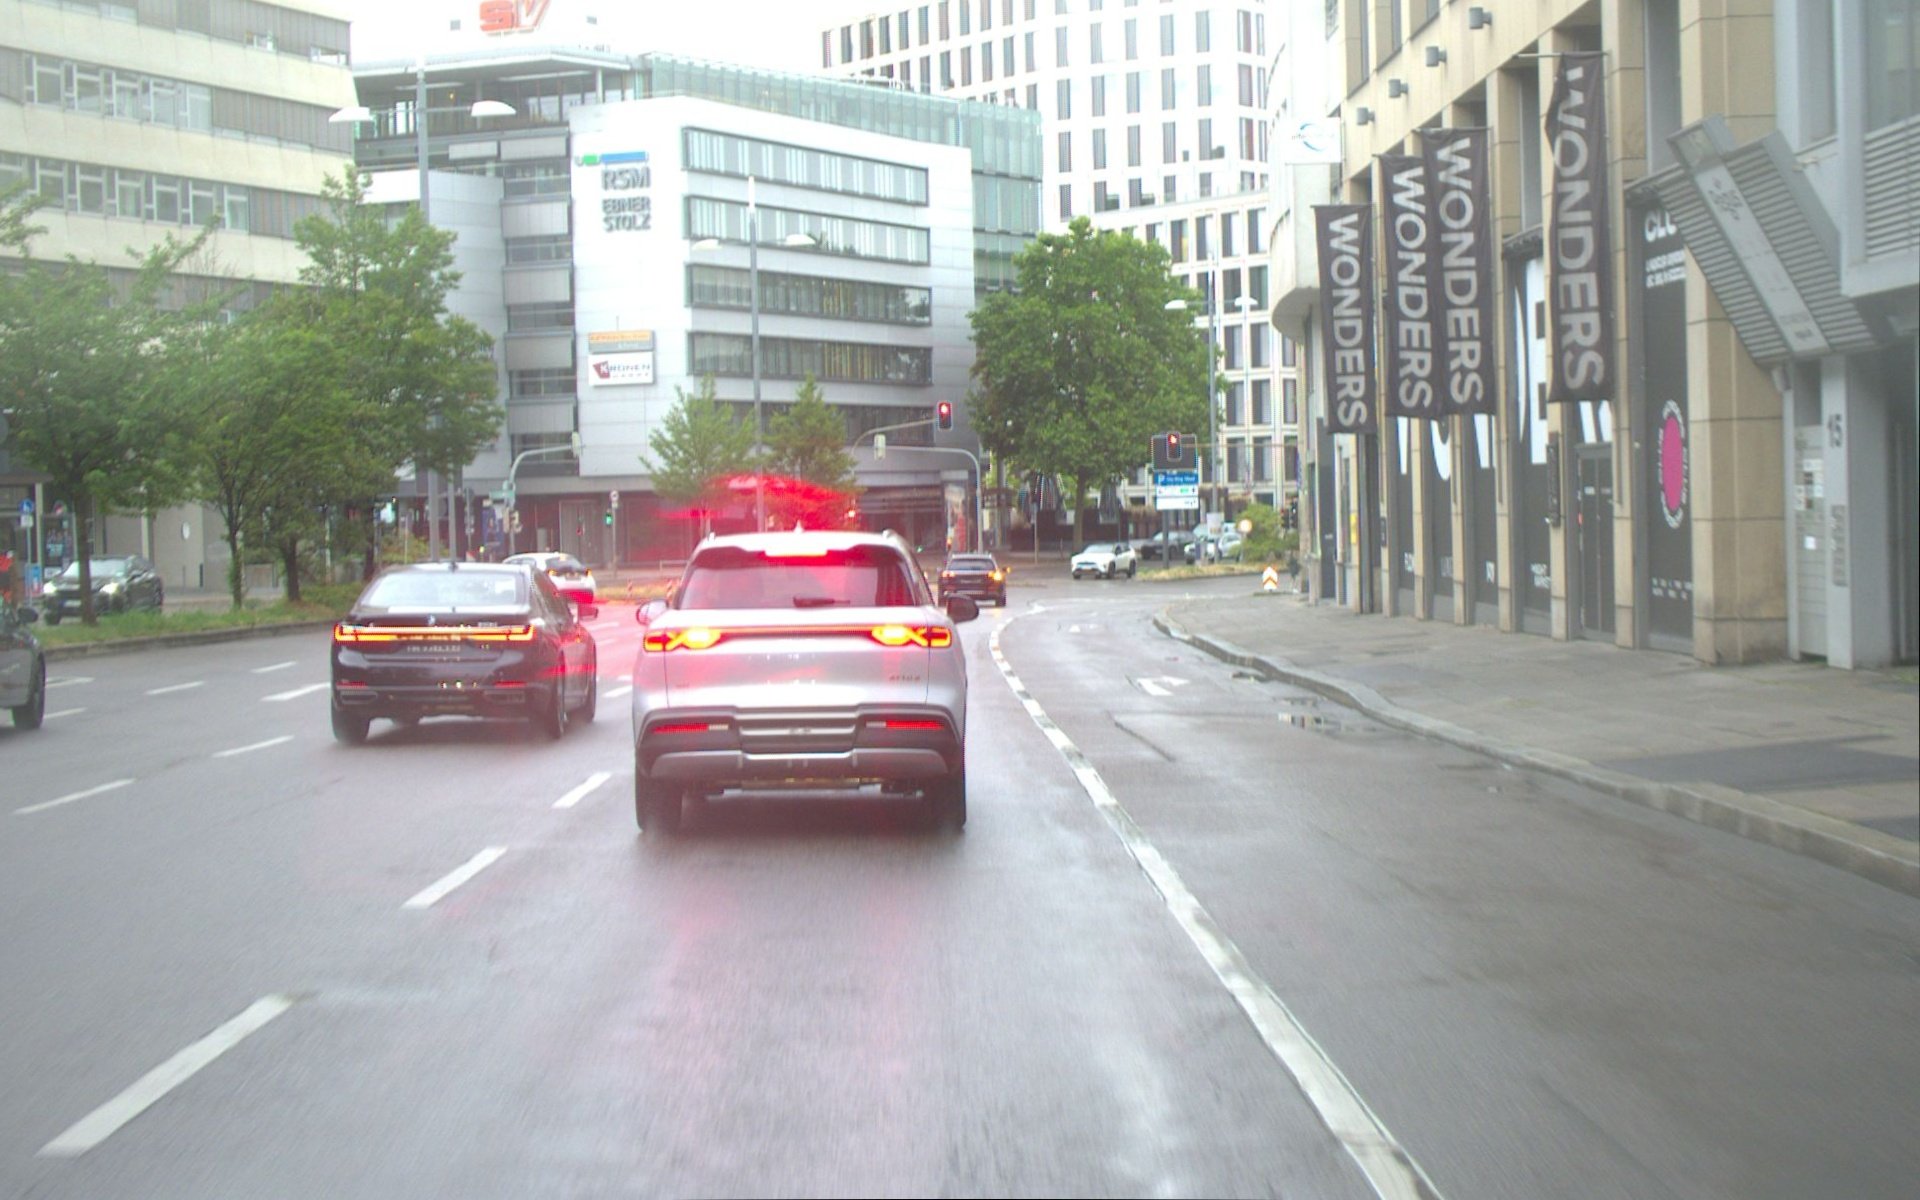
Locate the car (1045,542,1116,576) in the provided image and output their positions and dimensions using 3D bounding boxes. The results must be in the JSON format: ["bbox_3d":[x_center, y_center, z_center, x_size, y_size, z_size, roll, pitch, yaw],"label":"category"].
[{"bbox_3d":[5.589,-1.901,158.734,1.583,1.533,3.994,0,1,30],"label":"car"}]

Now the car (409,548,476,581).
[{"bbox_3d":[-17.671,-1.226,117.505,1.580,1.086,4.000,-1,1,1],"label":"car"}]

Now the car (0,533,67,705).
[{"bbox_3d":[-9.105,0.173,30.225,1.774,1.452,4.001,-1,0,-5],"label":"car"}]

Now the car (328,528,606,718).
[{"bbox_3d":[-4.209,0.133,30.028,1.872,1.474,4.879,-1,1,-2],"label":"car"}]

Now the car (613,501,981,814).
[{"bbox_3d":[-0.876,0.268,19.845,1.901,1.616,4.000,0,1,-1],"label":"car"}]

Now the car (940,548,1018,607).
[{"bbox_3d":[0.545,-0.649,95.800,1.812,1.573,3.999,0,1,6],"label":"car"}]

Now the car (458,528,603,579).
[{"bbox_3d":[-11.705,-1.260,93.547,3.996,1.337,1.655,0,1,41],"label":"car"}]

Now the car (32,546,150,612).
[{"bbox_3d":[-20.048,-0.478,79.433,1.623,1.448,4.162,-1,0,1],"label":"car"}]

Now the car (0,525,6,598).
[{"bbox_3d":[-20.156,-0.756,67.819,1.623,1.487,4.307,-1,0,-3],"label":"car"}]
